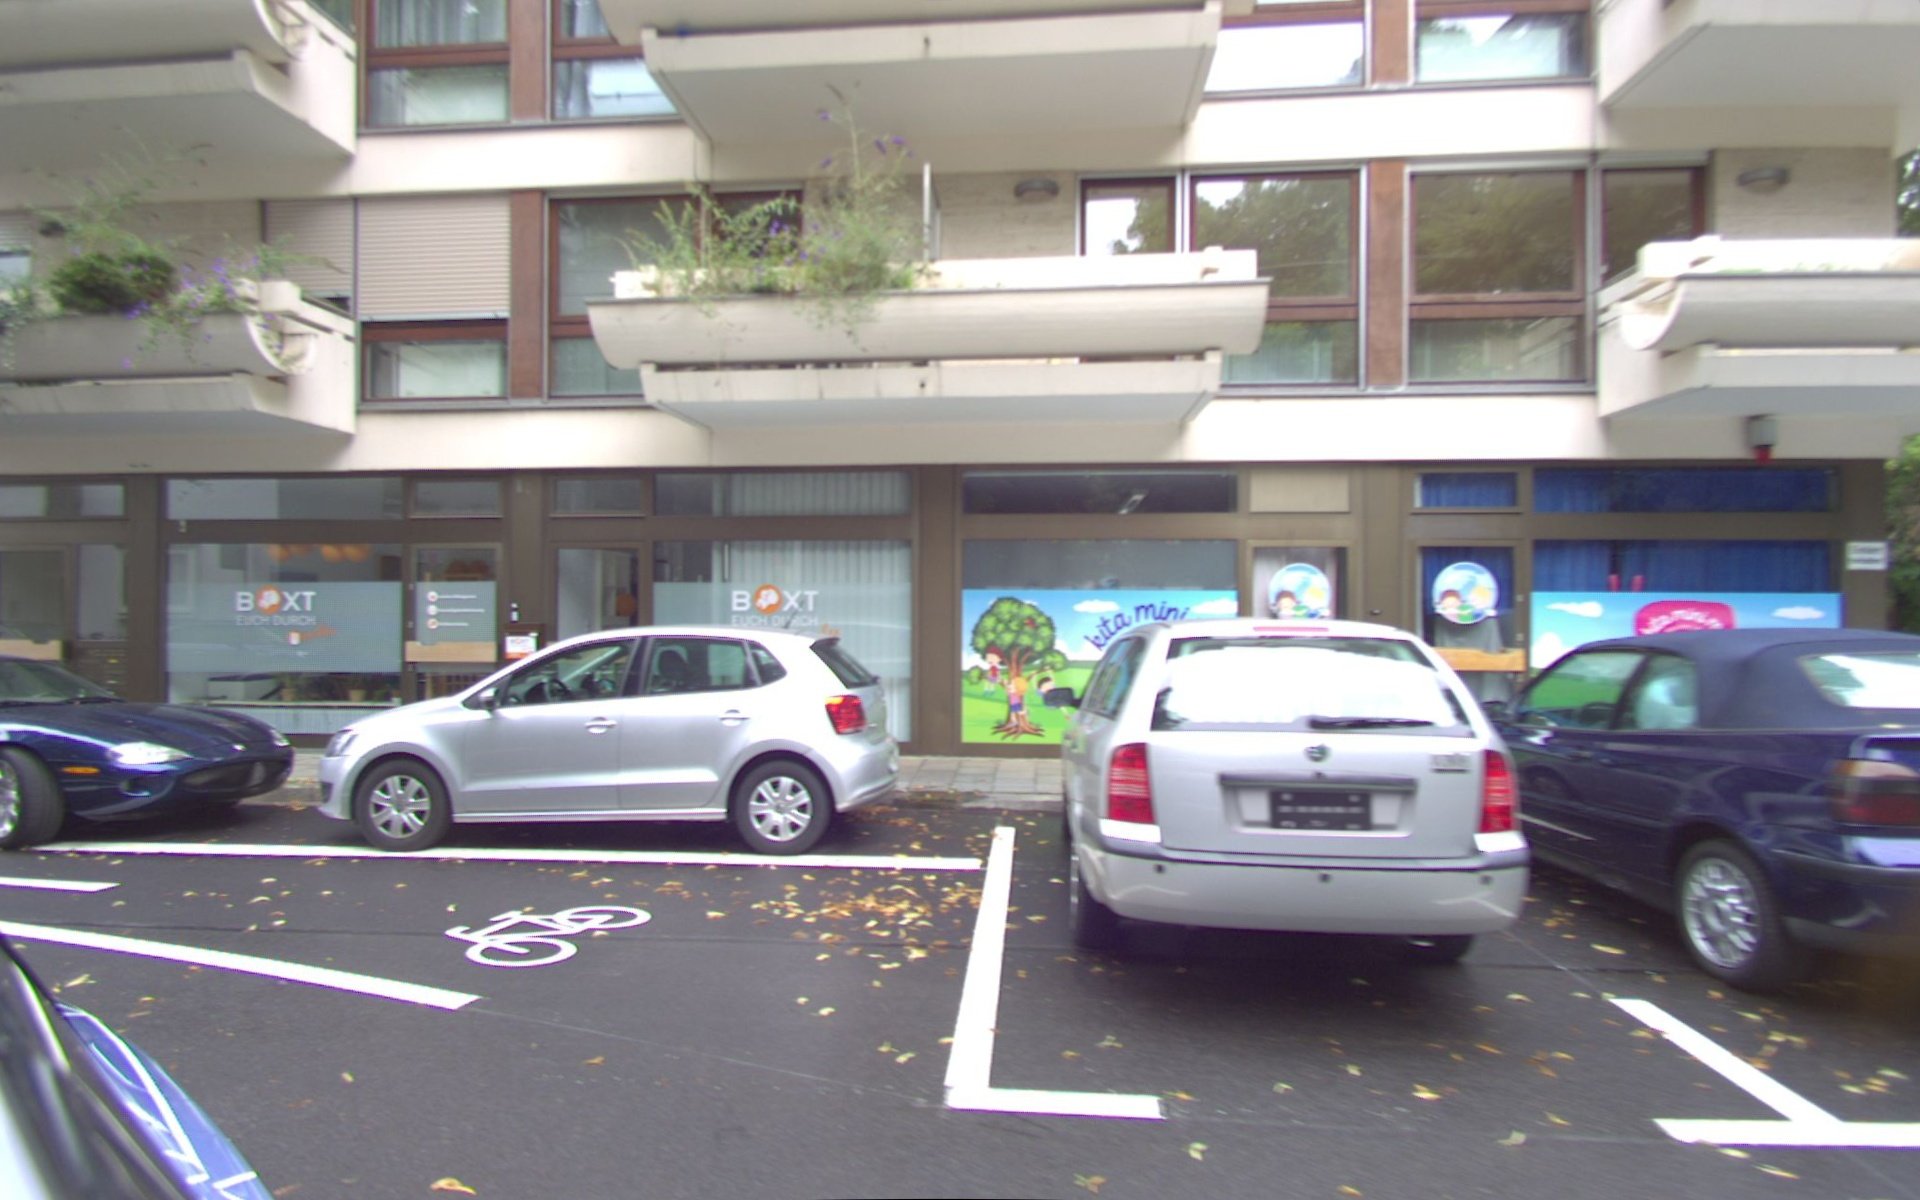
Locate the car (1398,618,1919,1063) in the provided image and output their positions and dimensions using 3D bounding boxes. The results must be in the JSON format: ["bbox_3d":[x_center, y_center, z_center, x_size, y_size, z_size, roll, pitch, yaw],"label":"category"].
[{"bbox_3d":[3.875,0.834,5.141,1.695,1.378,4.067,0,-3,4],"label":"car"}]

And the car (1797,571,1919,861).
[{"bbox_3d":[6.496,0.612,4.612,1.877,1.697,4.230,0,-3,2],"label":"car"}]

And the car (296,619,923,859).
[{"bbox_3d":[-2.209,0.876,6.984,3.783,1.432,1.564,0,-2,4],"label":"car"}]

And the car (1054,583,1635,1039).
[{"bbox_3d":[1.438,0.797,5.462,1.699,1.466,4.236,0,-3,3],"label":"car"}]

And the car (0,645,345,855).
[{"bbox_3d":[-7.240,0.983,7.338,4.557,1.288,1.800,0,-2,4],"label":"car"}]
